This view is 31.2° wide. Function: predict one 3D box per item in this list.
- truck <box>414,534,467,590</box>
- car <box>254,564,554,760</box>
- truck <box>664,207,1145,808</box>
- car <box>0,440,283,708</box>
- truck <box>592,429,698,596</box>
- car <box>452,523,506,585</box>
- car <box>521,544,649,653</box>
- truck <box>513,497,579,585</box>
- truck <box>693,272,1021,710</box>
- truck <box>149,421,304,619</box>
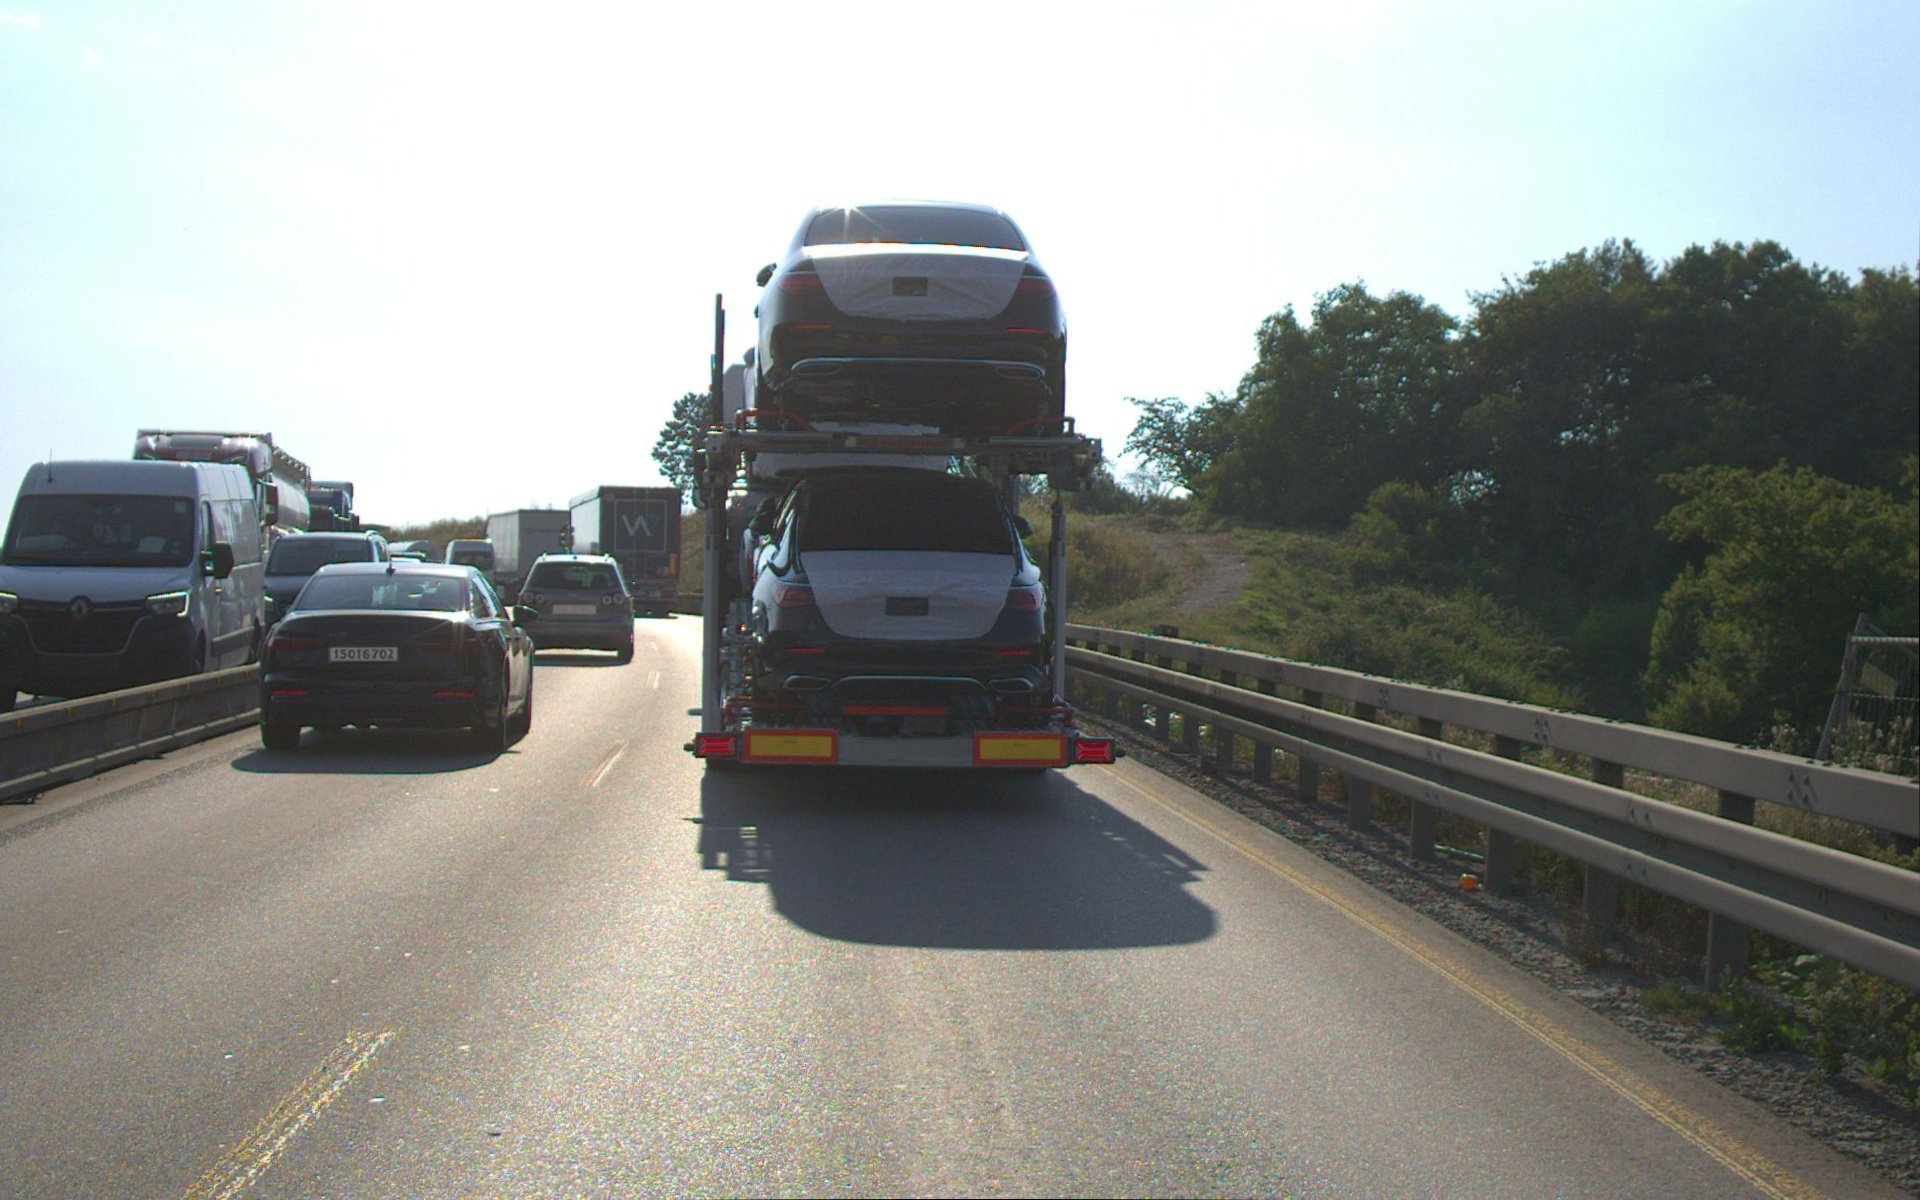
[{"bbox_3d":[-29.598,-2.173,195.899,2.590,3.159,6.678,0,1,-5],"label":"truck"},{"bbox_3d":[-4.413,0.431,27.952,1.934,1.394,4.962,0,1,-4],"label":"car"},{"bbox_3d":[-0.590,-0.606,25.325,2.799,3.485,10.607,0,1,-3],"label":"truck"},{"bbox_3d":[-8.301,-0.282,34.795,2.104,2.474,6.068,0,1,-4],"label":"car"},{"bbox_3d":[-10.266,-2.794,112.214,3.285,5.219,9.937,0,1,-5],"label":"truck"},{"bbox_3d":[-19.577,-1.867,140.003,1.920,2.484,5.410,0,1,-5],"label":"car"},{"bbox_3d":[-5.674,-0.051,52.381,1.691,1.590,4.001,0,1,-3],"label":"car"},{"bbox_3d":[-17.638,-2.506,146.854,2.530,3.635,8.907,0,1,-5],"label":"truck"},{"bbox_3d":[-1.192,-1.009,34.769,2.837,3.779,9.988,0,1,-3],"label":"truck"},{"bbox_3d":[-14.466,-1.535,68.461,2.313,3.595,11.975,0,1,-9],"label":"truck"}]
